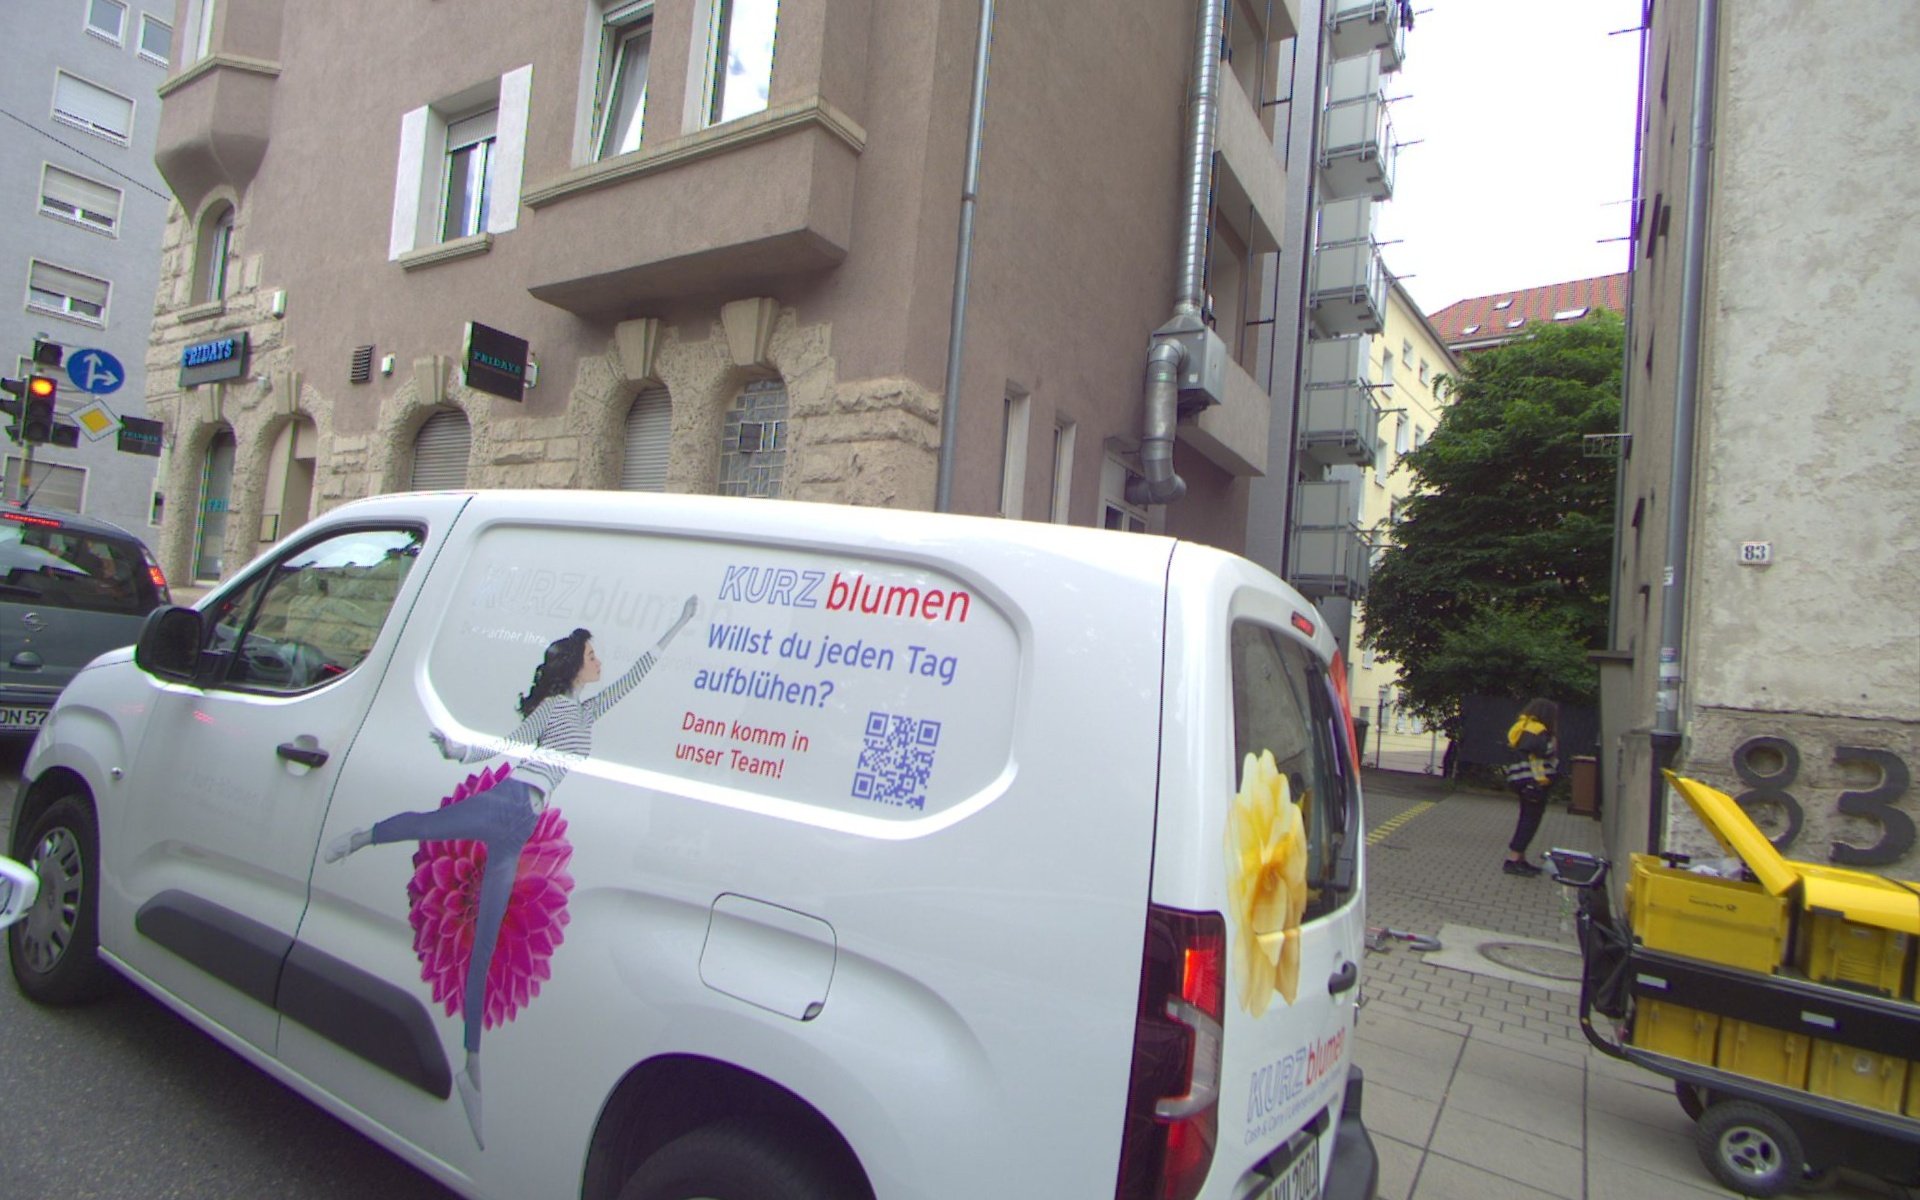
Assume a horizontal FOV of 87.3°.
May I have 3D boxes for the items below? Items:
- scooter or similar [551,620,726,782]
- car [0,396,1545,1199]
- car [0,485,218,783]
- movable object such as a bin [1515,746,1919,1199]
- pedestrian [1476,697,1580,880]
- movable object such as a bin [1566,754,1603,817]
[{"bbox_3d":[-2.693,0.813,8.378,1.400,1.117,0.527,6,-1,34],"label":"scooter or similar"},{"bbox_3d":[-0.948,0.584,3.143,4.597,1.793,1.983,6,-5,30],"label":"car"},{"bbox_3d":[-6.719,0.046,6.536,3.608,1.614,1.634,6,-5,32],"label":"car"},{"bbox_3d":[3.390,1.458,3.964,1.979,1.391,1.223,6,0,30],"label":"movable object such as a bin"},{"bbox_3d":[5.595,1.812,9.953,0.770,1.665,0.811,1,-3,22],"label":"pedestrian"},{"bbox_3d":[9.921,2.941,15.991,0.405,0.922,0.340,6,-1,32],"label":"movable object such as a bin"}]
